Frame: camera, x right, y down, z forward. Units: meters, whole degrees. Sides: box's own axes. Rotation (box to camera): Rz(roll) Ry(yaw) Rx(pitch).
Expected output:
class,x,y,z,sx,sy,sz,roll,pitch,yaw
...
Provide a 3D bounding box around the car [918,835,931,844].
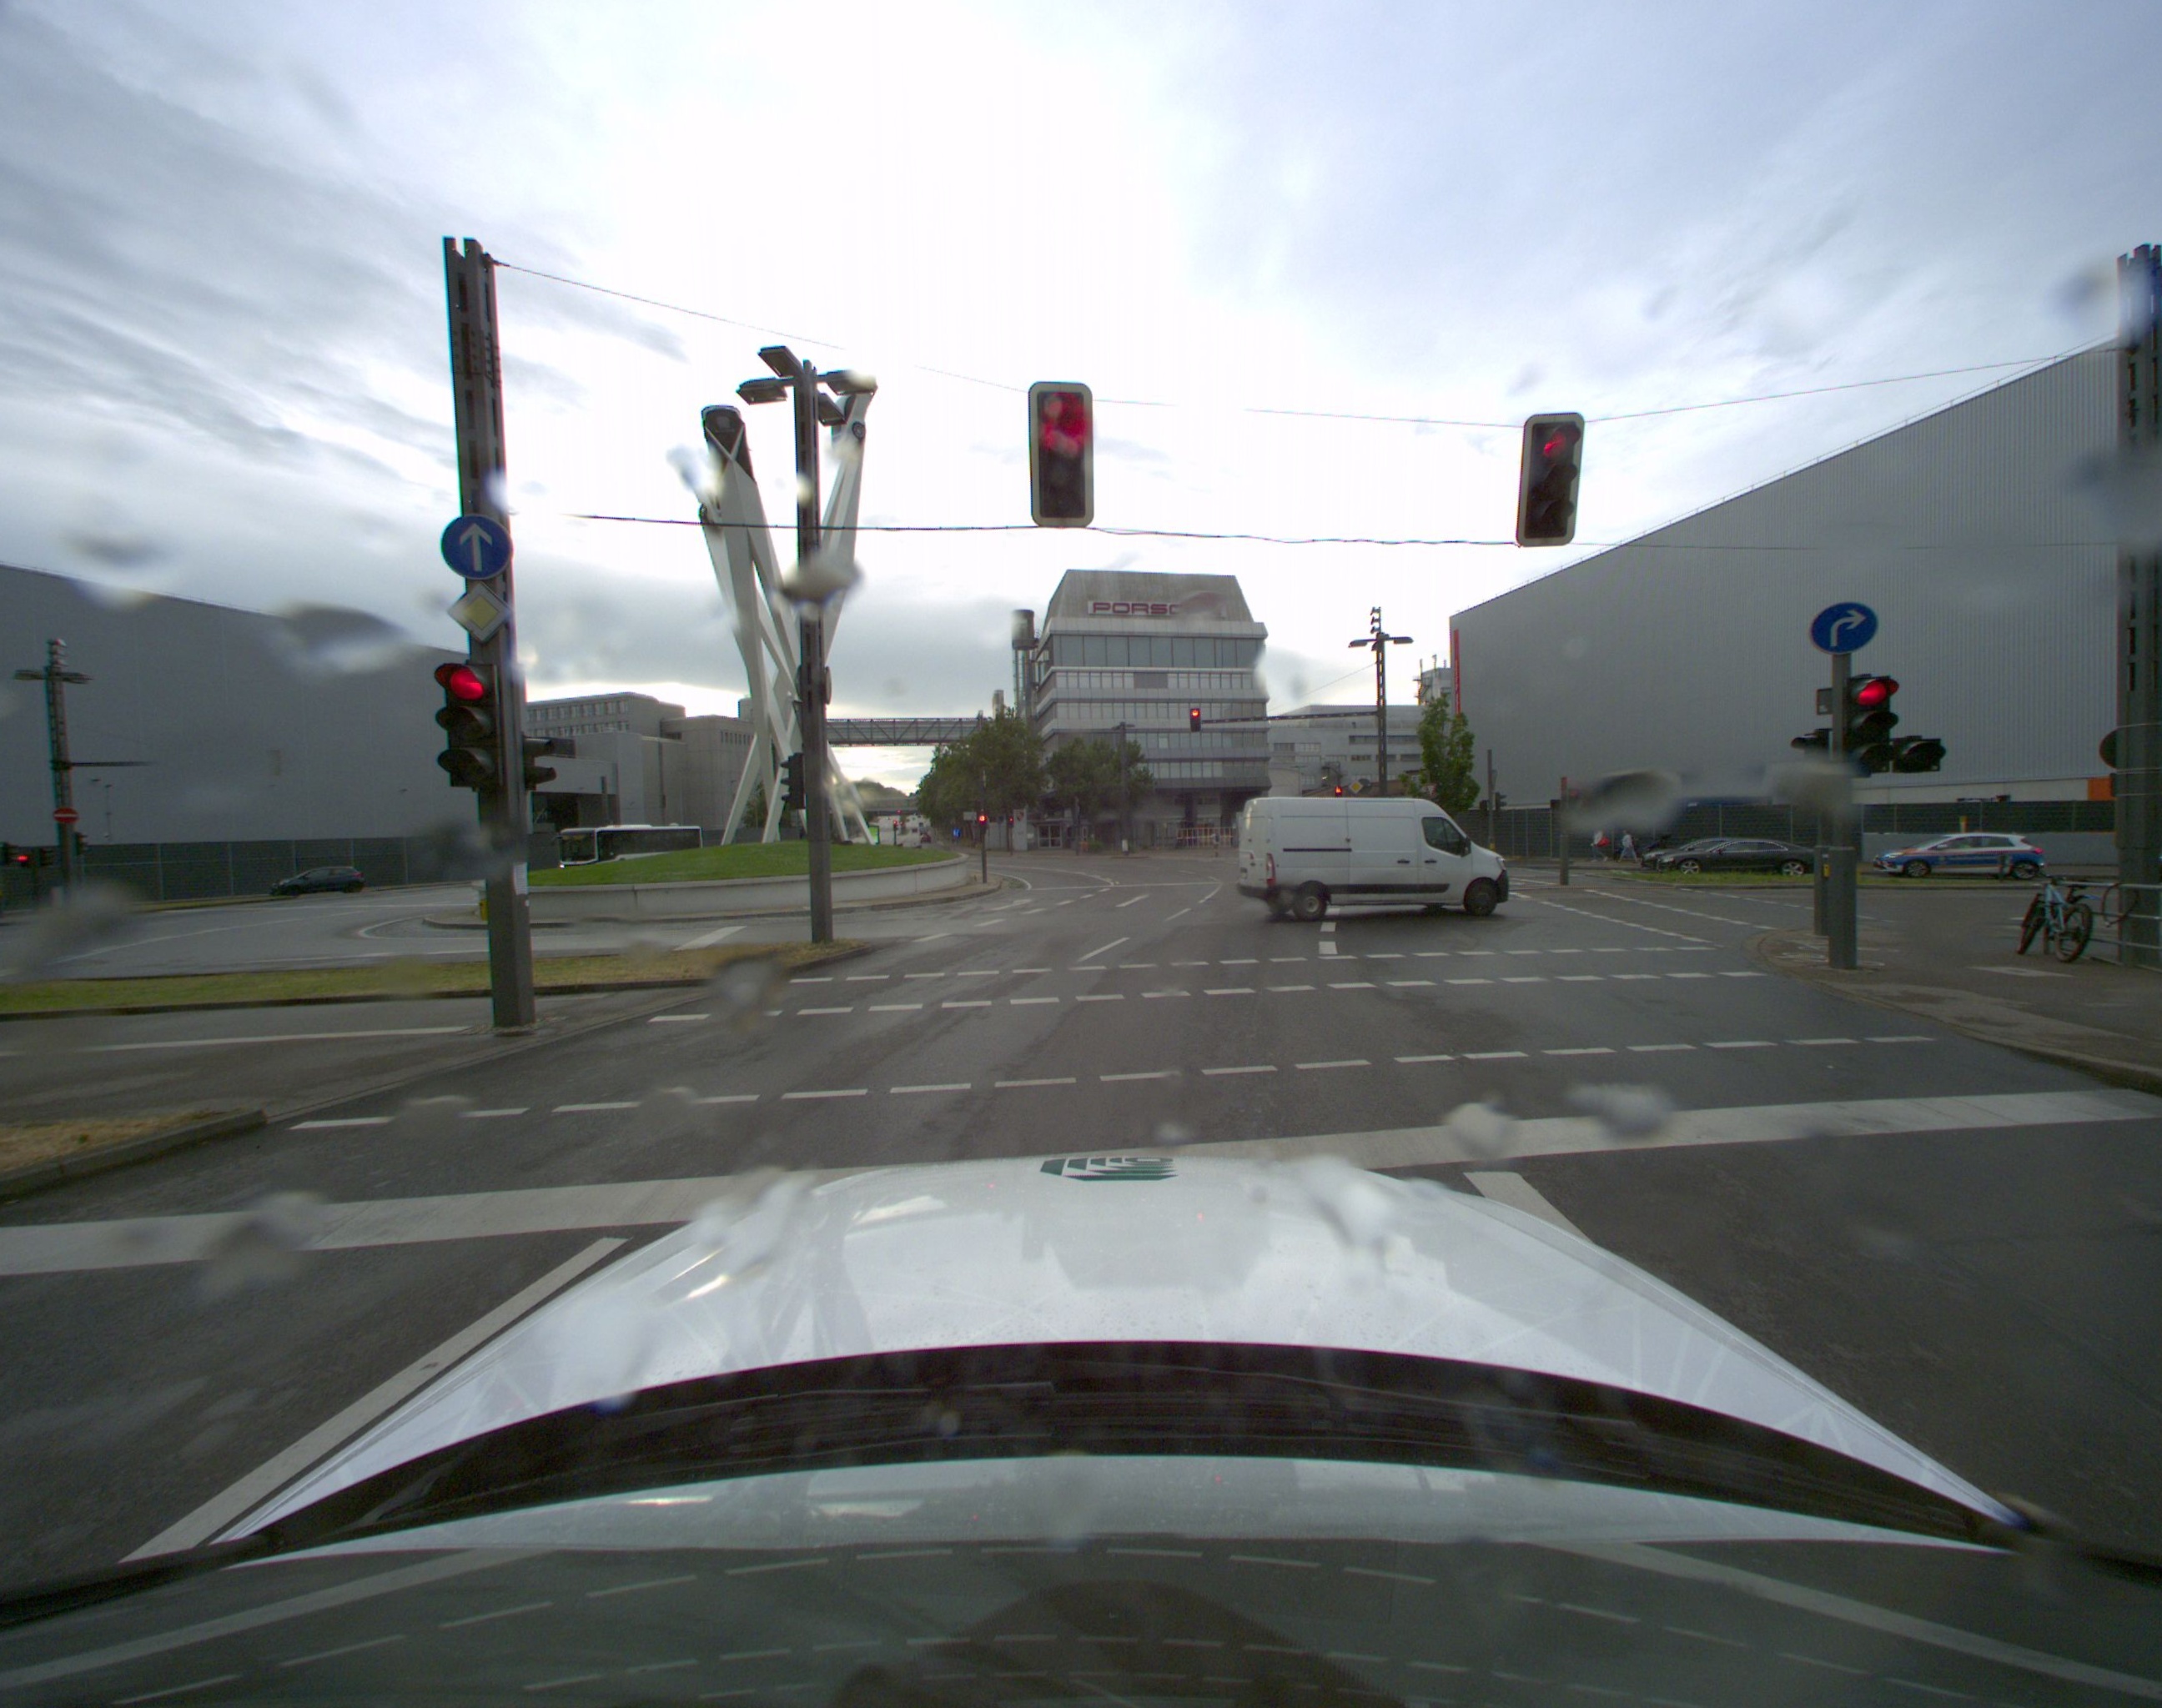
class,x,y,z,sx,sy,sz,roll,pitch,yaw
car,-26.755,-2.452,139.185,1.776,1.464,3.712,-1,-1,-16

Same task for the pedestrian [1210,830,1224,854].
class,x,y,z,sx,sy,sz,roll,pitch,yaw
pedestrian,9.172,-0.814,54.870,0.801,1.611,0.773,-2,-1,19

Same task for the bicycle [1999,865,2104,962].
class,x,y,z,sx,sy,sz,roll,pitch,yaw
bicycle,12.385,0.712,10.436,0.381,1.098,1.762,-2,0,35

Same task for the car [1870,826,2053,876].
class,x,y,z,sx,sy,sz,roll,pitch,yaw
car,30.206,-0.124,28.125,3.930,1.601,1.924,0,1,31

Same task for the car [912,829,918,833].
class,x,y,z,sx,sy,sz,roll,pitch,yaw
car,-51.790,-7.169,254.204,1.558,1.288,3.399,-2,-1,-12

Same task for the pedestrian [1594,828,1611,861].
class,x,y,z,sx,sy,sz,roll,pitch,yaw
pedestrian,23.754,-0.437,37.107,0.605,1.481,0.426,-1,0,37

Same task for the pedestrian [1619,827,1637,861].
class,x,y,z,sx,sy,sz,roll,pitch,yaw
pedestrian,24.357,-0.440,36.244,0.642,1.481,0.442,-1,0,35

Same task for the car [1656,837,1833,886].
class,x,y,z,sx,sy,sz,roll,pitch,yaw
car,22.612,0.208,28.011,4.525,1.539,1.769,0,2,31

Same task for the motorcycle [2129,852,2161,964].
class,x,y,z,sx,sy,sz,roll,pitch,yaw
motorcycle,15.140,0.683,10.371,2.213,1.452,0.759,-1,0,12

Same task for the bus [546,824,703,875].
class,x,y,z,sx,sy,sz,roll,pitch,yaw
bus,-32.062,-0.373,58.228,2.654,3.200,12.696,-1,0,7

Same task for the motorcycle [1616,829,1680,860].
class,x,y,z,sx,sy,sz,roll,pitch,yaw
motorcycle,25.697,-0.411,36.941,2.330,1.344,0.657,-1,0,30

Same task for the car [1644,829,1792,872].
class,x,y,z,sx,sy,sz,roll,pitch,yaw
car,24.092,-0.158,31.021,4.244,1.539,1.769,0,2,31

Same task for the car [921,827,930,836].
class,x,y,z,sx,sy,sz,roll,pitch,yaw
car,-41.585,-6.083,217.481,2.234,2.108,4.935,-2,-1,-11

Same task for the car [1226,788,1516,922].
class,x,y,z,sx,sy,sz,roll,pitch,yaw
car,5.993,-0.018,17.123,5.405,2.447,1.995,-2,0,-8

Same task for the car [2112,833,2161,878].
class,x,y,z,sx,sy,sz,roll,pitch,yaw
car,35.317,0.037,25.133,3.949,1.392,1.769,0,2,31

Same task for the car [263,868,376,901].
class,x,y,z,sx,sy,sz,roll,pitch,yaw
car,-39.584,1.549,42.416,1.756,1.486,4.026,-1,0,38
